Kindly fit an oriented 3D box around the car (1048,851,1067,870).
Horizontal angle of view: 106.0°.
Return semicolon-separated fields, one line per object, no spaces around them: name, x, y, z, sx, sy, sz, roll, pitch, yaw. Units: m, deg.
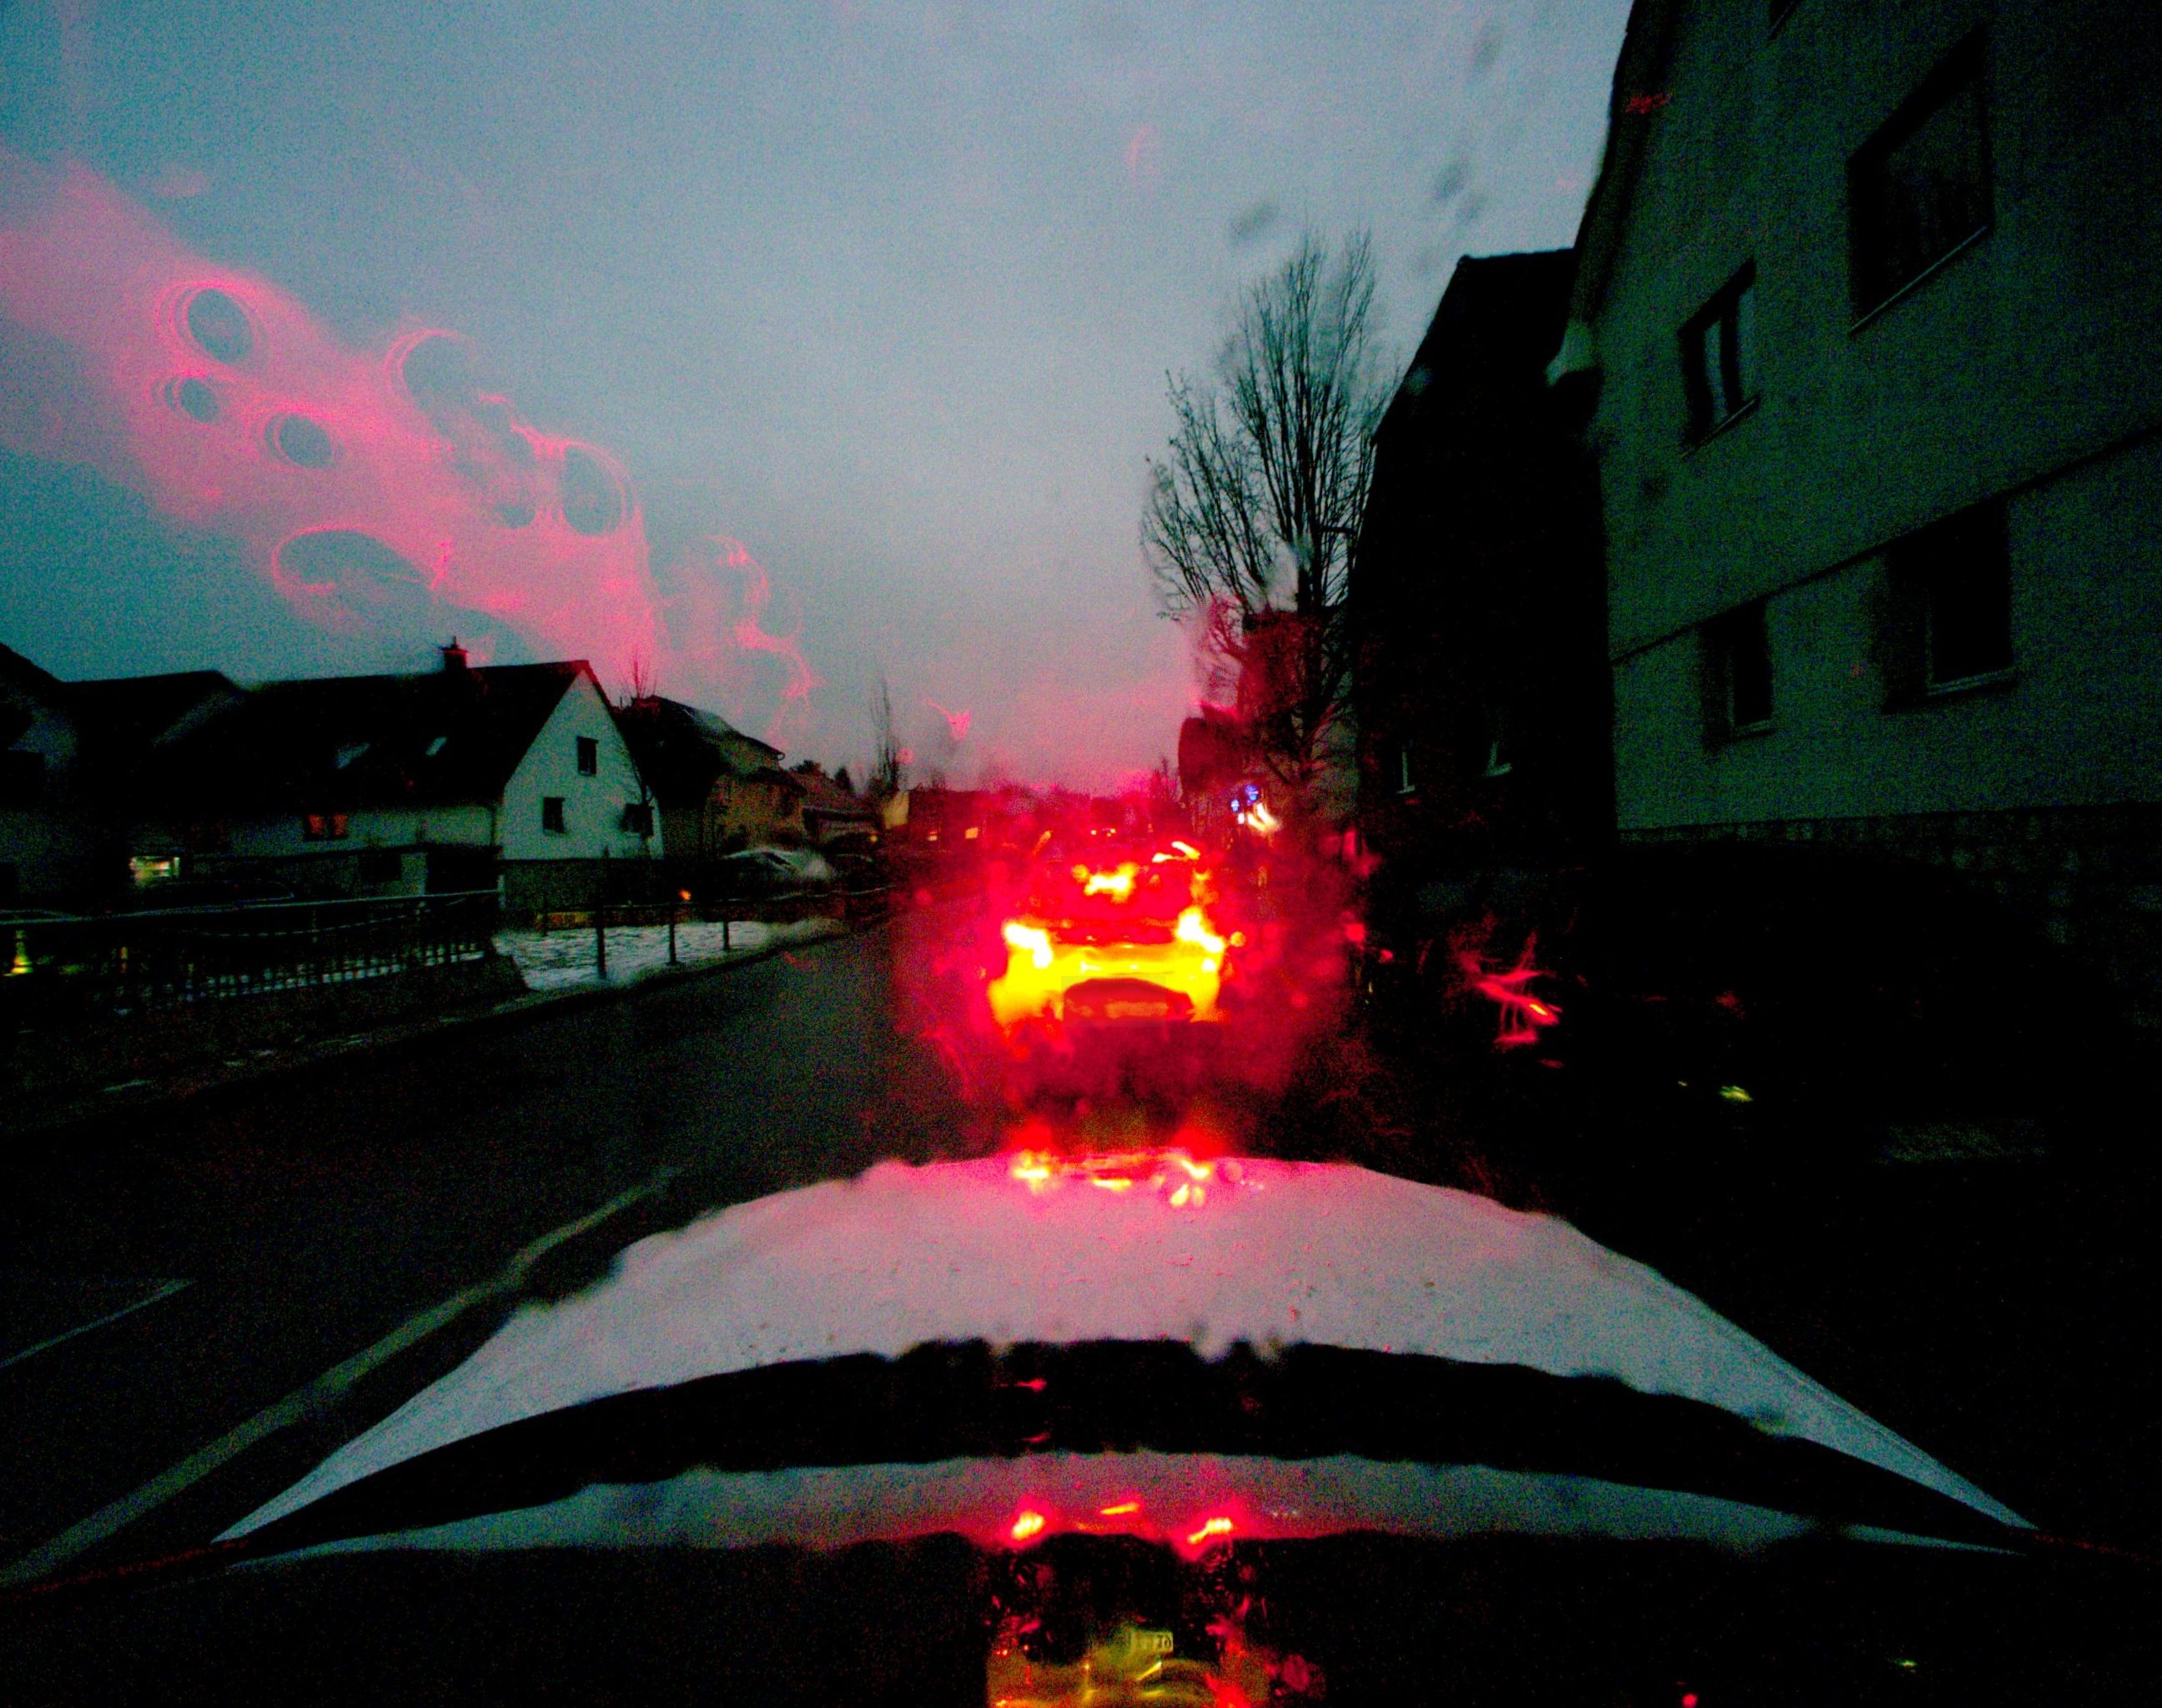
car;-2.511;0.730;88.879;1.913;2.028;3.974;-1;-2;0

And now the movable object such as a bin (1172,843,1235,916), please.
movable object such as a bin;2.620;0.523;17.607;1.124;1.420;1.419;-5;1;4

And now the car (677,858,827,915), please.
car;-9.054;0.881;22.603;3.432;1.372;1.601;-2;0;1

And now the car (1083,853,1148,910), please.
car;0.884;0.651;21.286;1.535;1.331;3.313;-1;0;2

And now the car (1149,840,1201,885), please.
car;3.855;0.332;33.970;1.729;1.692;4.387;-2;0;1

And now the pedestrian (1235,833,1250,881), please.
pedestrian;6.144;0.101;31.003;0.525;1.800;0.867;-1;0;12

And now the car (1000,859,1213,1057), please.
car;0.244;0.775;7.525;1.557;1.412;3.019;-1;0;2

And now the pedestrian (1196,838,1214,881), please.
pedestrian;5.014;0.225;32.967;0.571;1.699;0.653;-4;-1;3

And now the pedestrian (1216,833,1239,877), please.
pedestrian;5.938;0.042;32.995;0.707;1.715;1.039;-3;1;15

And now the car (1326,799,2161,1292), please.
car;2.825;0.595;4.698;1.720;1.464;4.203;-5;0;4

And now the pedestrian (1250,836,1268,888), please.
pedestrian;5.749;0.262;26.305;0.525;1.653;0.957;-1;-2;12

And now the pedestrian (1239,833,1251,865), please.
pedestrian;8.961;-0.269;44.538;0.614;1.727;0.503;-1;-2;13

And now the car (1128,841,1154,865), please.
car;4.811;-0.064;65.850;1.990;1.865;4.085;-1;0;2

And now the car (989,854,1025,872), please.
car;-8.419;1.023;92.269;1.833;1.976;4.117;1;-3;-44

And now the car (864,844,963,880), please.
car;-8.537;0.411;41.765;4.611;1.667;1.999;-1;0;-1

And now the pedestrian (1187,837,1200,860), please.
pedestrian;7.529;-0.352;54.508;0.618;1.515;0.731;-2;1;-11

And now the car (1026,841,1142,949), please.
car;0.107;0.610;14.220;1.760;1.628;3.587;-1;0;2

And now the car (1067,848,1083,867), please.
car;-0.677;0.452;96.748;1.913;2.216;3.974;-1;-2;0

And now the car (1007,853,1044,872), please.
car;-6.597;1.018;95.947;2.011;2.167;4.332;1;-3;-44

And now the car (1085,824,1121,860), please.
car;2.034;-1.095;76.237;3.179;3.032;6.306;-1;-2;1

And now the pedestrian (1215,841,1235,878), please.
pedestrian;6.625;0.251;37.483;0.618;1.626;0.903;-2;1;-11

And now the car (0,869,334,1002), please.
car;-14.114;1.100;11.938;1.794;1.482;4.577;-4;1;4

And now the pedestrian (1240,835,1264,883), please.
pedestrian;6.115;0.208;29.162;0.743;1.679;1.054;-1;-2;8

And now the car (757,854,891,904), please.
car;-8.844;0.841;28.211;4.074;1.608;1.589;-1;0;5

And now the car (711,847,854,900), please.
car;-9.258;0.605;25.394;3.772;1.523;1.719;-1;0;8
